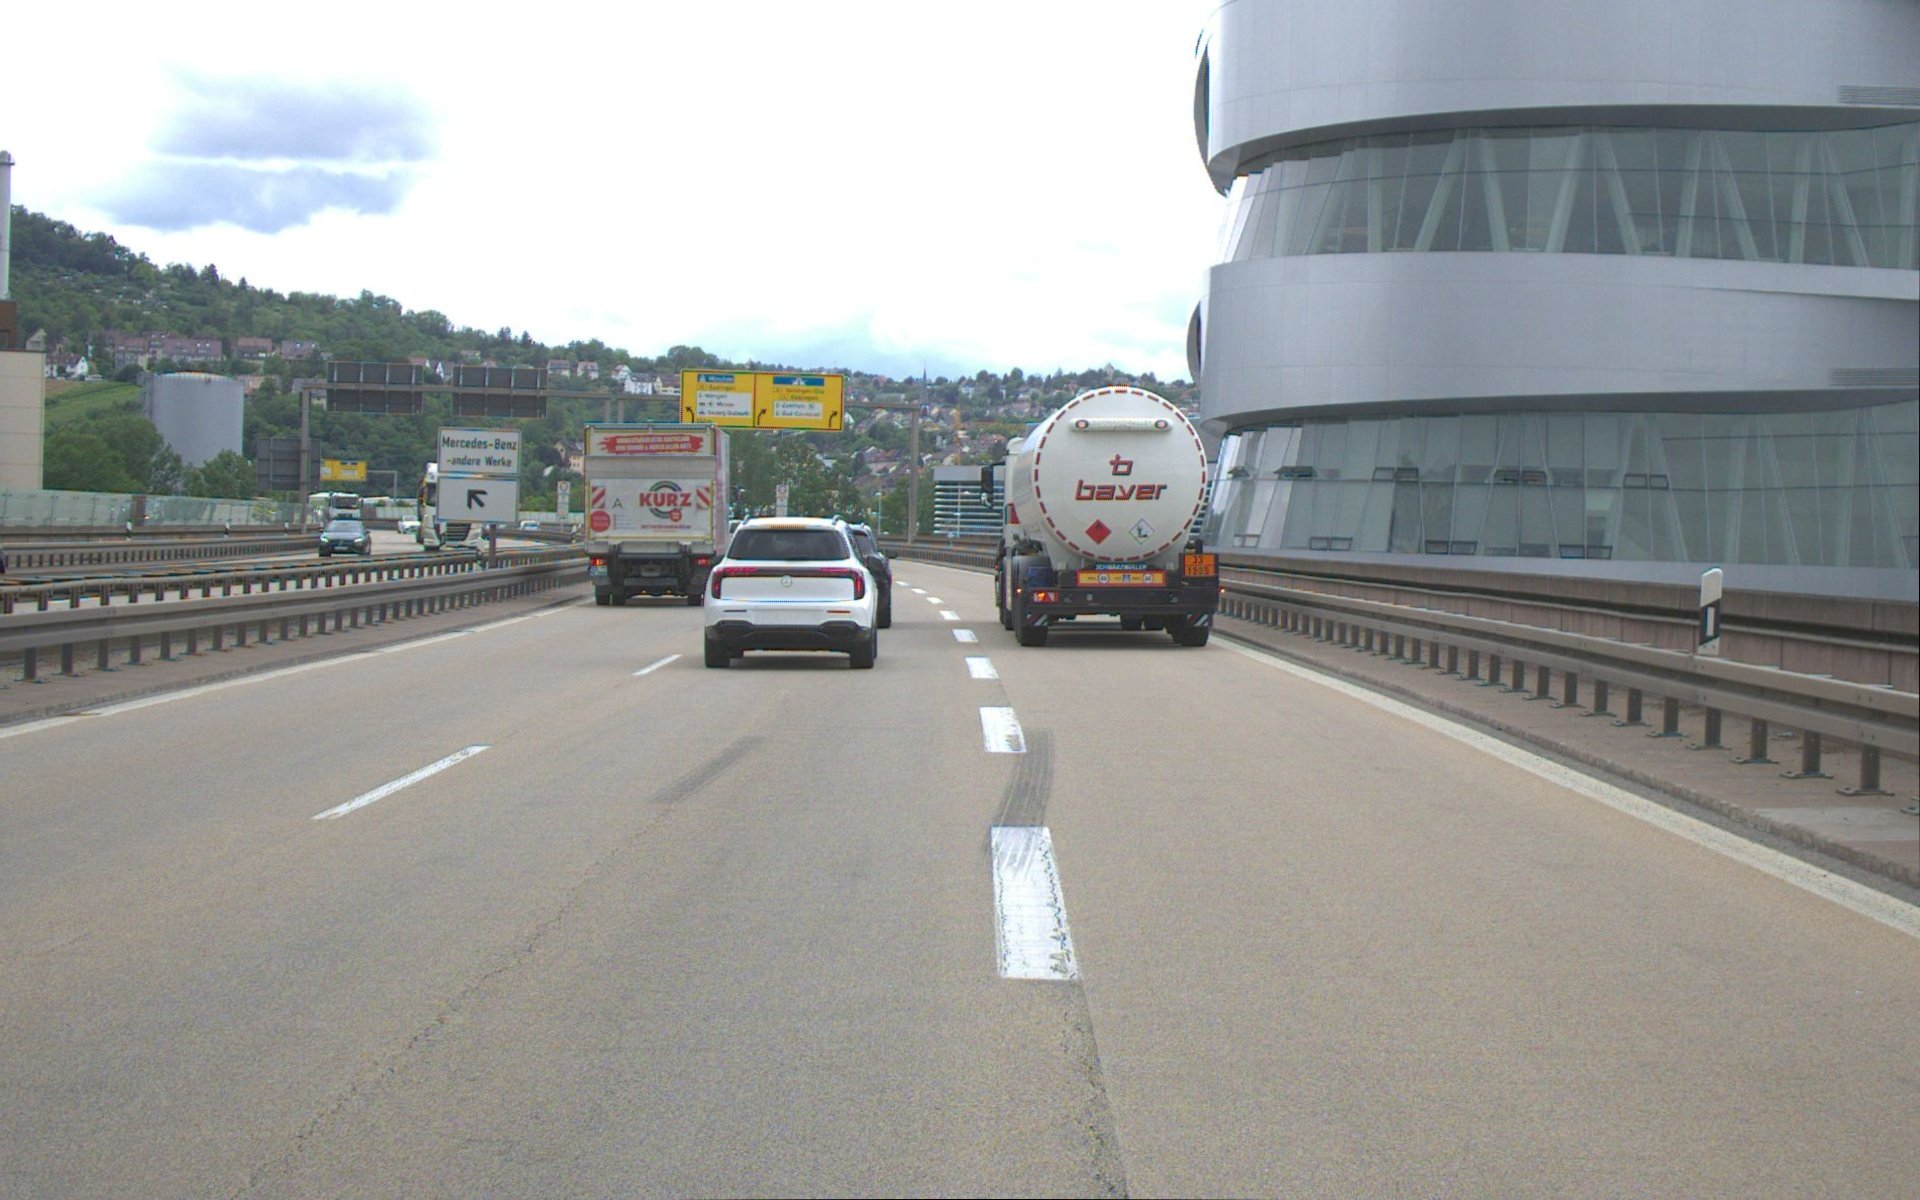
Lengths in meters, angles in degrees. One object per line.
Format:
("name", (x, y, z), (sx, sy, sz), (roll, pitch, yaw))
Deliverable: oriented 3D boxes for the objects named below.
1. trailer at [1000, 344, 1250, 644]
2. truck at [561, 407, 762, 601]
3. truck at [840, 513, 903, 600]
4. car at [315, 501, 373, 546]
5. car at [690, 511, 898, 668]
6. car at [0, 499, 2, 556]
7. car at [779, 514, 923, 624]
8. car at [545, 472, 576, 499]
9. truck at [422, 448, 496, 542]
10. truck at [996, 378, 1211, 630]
("trailer", (2.146, -1.391, 47.774), (3.057, 3.777, 8.304), (0, 1, 0))
("truck", (-5.923, -1.870, 69.601), (3.057, 3.678, 8.303), (0, 1, 2))
("truck", (-4.791, -2.332, 184.744), (3.056, 4.546, 8.305), (0, 1, -4))
("car", (-24.016, -2.978, 134.199), (1.683, 1.644, 4.360), (2, 1, -3))
("car", (-1.826, -0.132, 39.094), (1.993, 1.669, 4.408), (0, 1, 2))
("car", (-12.893, -0.456, 40.724), (1.762, 1.644, 4.335), (2, 1, 1))
("car", (-1.682, -0.496, 54.667), (1.993, 1.669, 4.408), (0, 1, 2))
("car", (-26.080, -7.465, 224.697), (1.993, 1.601, 4.808), (0, 1, -6))
("truck", (-22.459, -4.665, 154.358), (2.771, 4.065, 5.647), (0, 0, -3))
("truck", (2.125, -1.426, 53.147), (3.014, 3.644, 6.273), (0, 0, 0))
